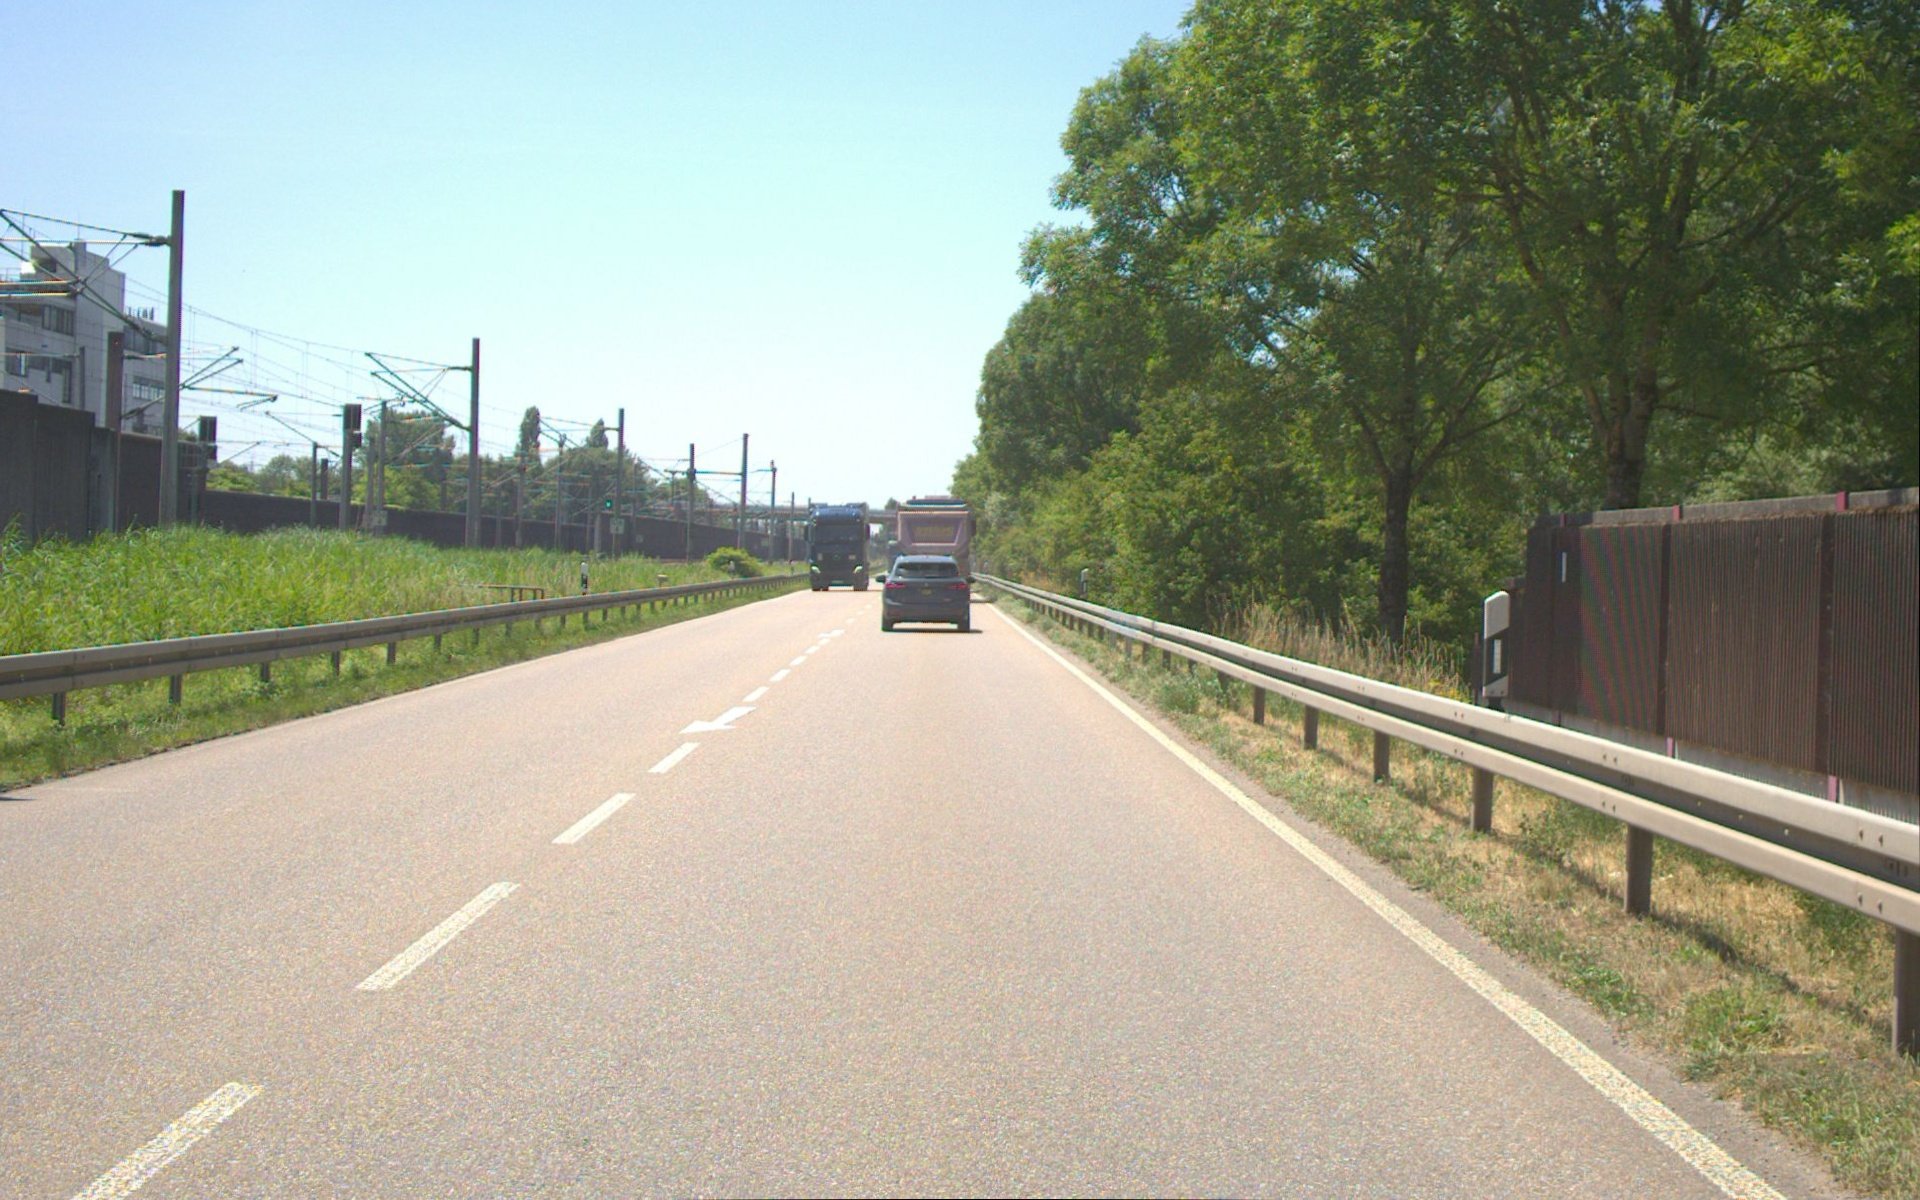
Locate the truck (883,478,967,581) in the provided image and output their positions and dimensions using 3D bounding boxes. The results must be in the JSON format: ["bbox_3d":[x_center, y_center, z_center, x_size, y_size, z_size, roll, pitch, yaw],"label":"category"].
[{"bbox_3d":[-1.211,-2.428,120.626,2.770,3.414,10.820,1,1,0],"label":"truck"}]

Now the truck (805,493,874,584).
[{"bbox_3d":[-5.489,-2.855,158.523,2.797,3.964,10.501,1,1,0],"label":"truck"}]

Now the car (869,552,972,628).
[{"bbox_3d":[-0.839,-0.231,71.215,1.993,1.503,4.001,0,1,-3],"label":"car"}]
